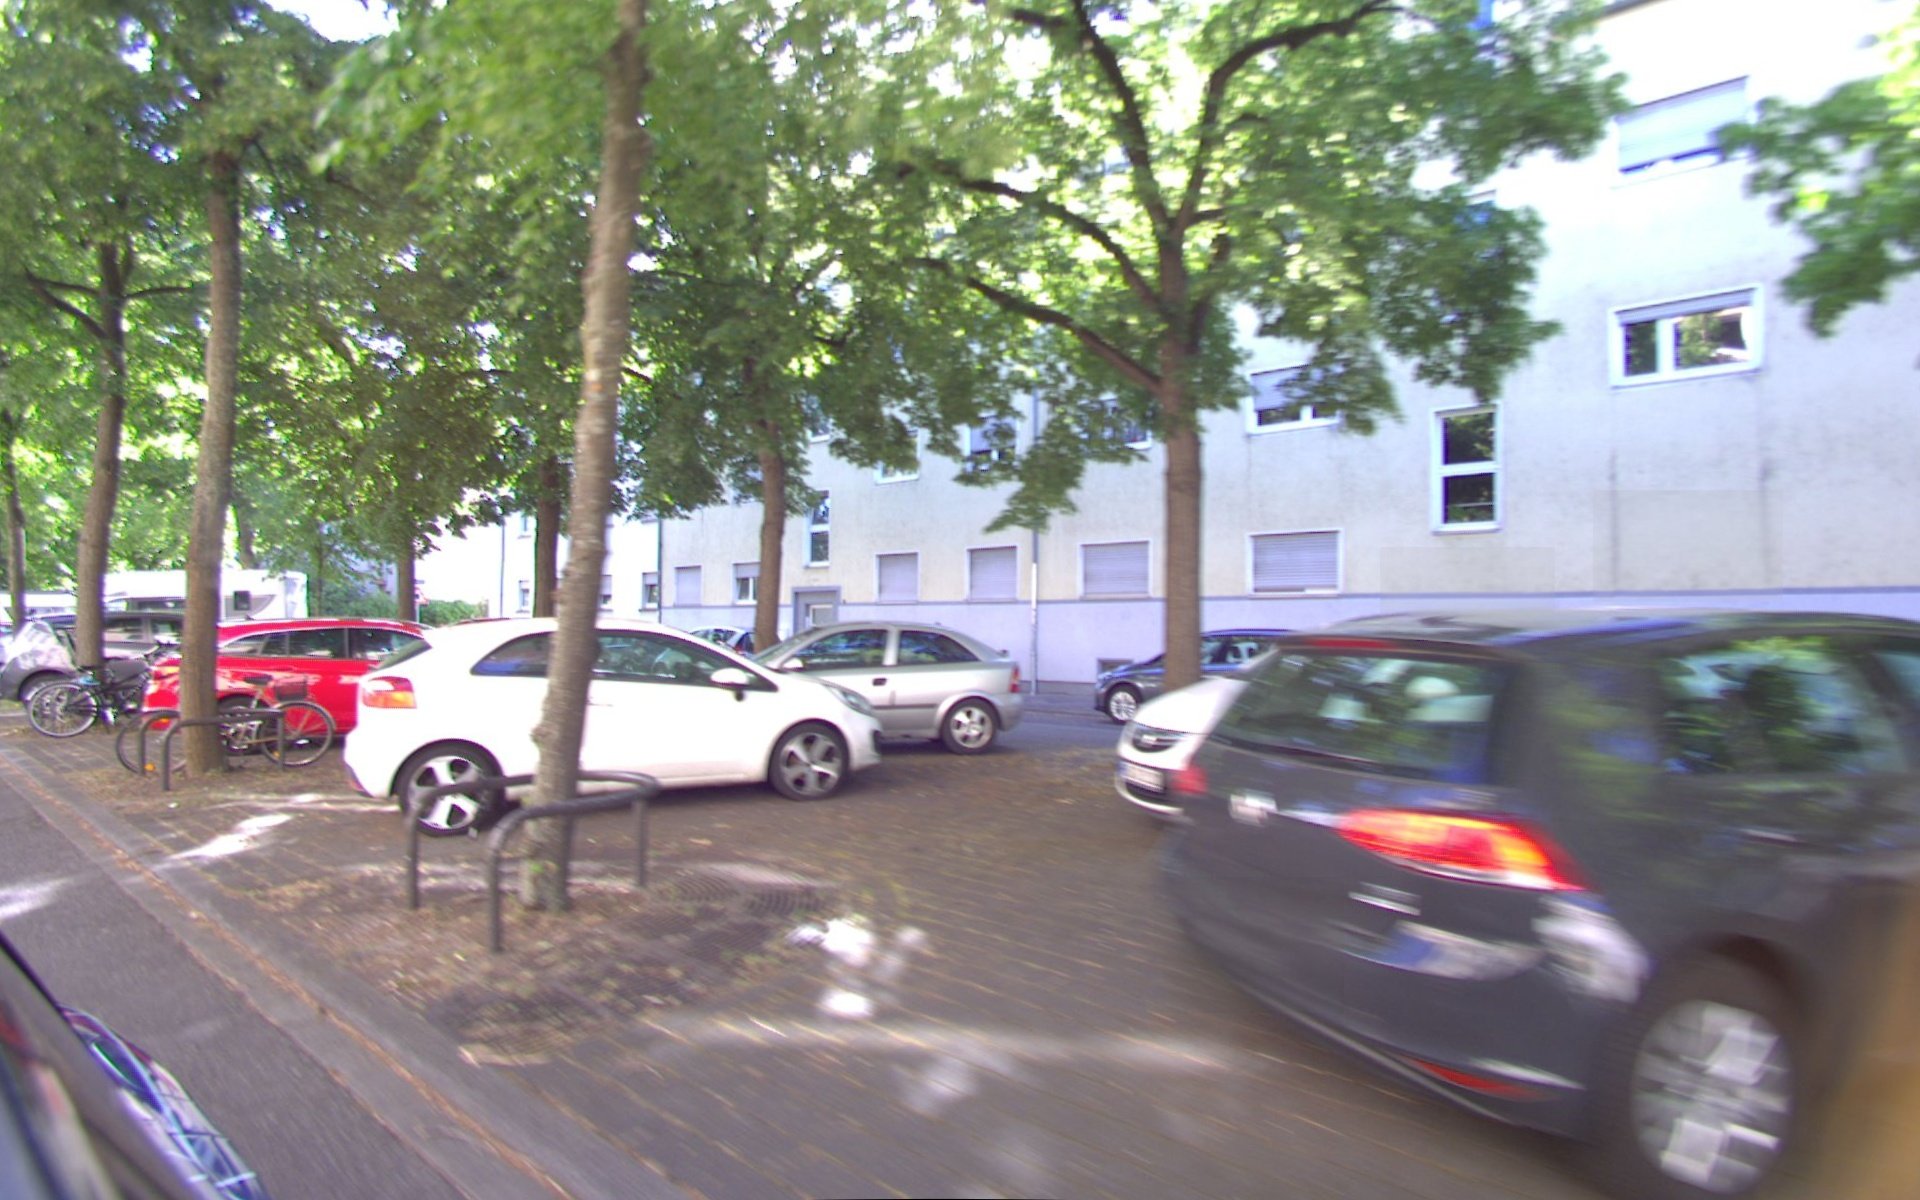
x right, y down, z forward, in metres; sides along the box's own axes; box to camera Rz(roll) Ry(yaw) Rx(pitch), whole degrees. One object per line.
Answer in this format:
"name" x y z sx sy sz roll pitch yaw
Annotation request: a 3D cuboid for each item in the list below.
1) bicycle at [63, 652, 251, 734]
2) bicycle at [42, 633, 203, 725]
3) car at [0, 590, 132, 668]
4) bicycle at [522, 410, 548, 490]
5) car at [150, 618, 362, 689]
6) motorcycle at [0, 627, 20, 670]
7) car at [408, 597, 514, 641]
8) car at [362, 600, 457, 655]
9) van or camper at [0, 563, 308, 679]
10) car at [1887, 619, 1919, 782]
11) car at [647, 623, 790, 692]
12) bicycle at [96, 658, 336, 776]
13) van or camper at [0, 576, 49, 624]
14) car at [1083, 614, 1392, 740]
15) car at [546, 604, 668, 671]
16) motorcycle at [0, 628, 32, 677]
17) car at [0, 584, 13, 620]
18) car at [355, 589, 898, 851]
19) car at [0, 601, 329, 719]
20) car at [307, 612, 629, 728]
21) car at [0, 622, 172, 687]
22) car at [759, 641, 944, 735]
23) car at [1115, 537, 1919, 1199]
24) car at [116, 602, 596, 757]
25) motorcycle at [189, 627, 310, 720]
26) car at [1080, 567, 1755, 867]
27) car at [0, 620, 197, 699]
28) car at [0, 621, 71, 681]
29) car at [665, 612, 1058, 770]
"bicycle" -10.424 1.191 13.211 1.871 0.926 0.380 -1 0 -29
"bicycle" -11.623 1.077 14.103 1.662 1.167 0.380 -1 0 -29
"car" -32.577 0.978 34.566 6.220 2.578 2.345 -1 0 -16
"bicycle" -7.807 -2.714 18.576 0.350 1.209 1.807 -2 1 -25
"car" -16.851 1.239 24.474 3.931 1.497 1.836 -1 0 -25
"motorcycle" -30.801 1.505 31.350 0.966 1.345 2.301 -1 -2 32
"car" -17.294 0.683 35.036 4.077 1.447 1.732 -1 -3 39
"car" -21.373 1.057 39.241 3.998 2.029 1.973 -1 -2 41
"van or camper" -21.759 0.496 27.663 6.198 2.846 2.415 -1 0 -20
"car" 11.221 1.002 9.816 3.182 1.571 1.460 -1 1 40
"car" -5.975 1.370 24.889 3.576 1.588 1.600 -1 -3 39
"bicycle" -6.983 1.072 9.602 1.786 1.001 0.427 1 -2 -33
"van or camper" -61.974 0.005 64.023 5.929 3.025 2.407 1 -2 -20
"car" 4.289 1.123 16.031 4.376 1.732 1.826 -1 -3 41
"car" -9.702 1.036 27.707 3.597 1.689 1.459 -1 -5 40
"motorcycle" -25.440 1.381 26.134 2.120 1.239 0.883 0 -1 -40
"car" -71.169 0.132 71.309 6.094 2.530 2.145 1 -2 -21
"car" -2.517 0.756 7.966 3.630 1.608 1.778 -1 0 -24
"car" -12.868 0.890 16.545 4.018 1.665 1.869 -1 0 -21
"car" -7.051 0.947 14.948 4.045 1.484 1.878 0 0 -20
"car" -22.015 1.304 24.684 4.086 1.436 1.720 0 0 -17
"car" -2.344 1.777 21.497 3.833 1.767 1.684 -1 -2 38
"car" 2.725 0.622 3.297 4.038 1.492 1.737 0 0 -20
"car" -6.768 0.821 11.939 4.550 1.497 1.766 -1 0 -17
"motorcycle" -10.346 1.042 14.793 0.636 1.264 1.513 -1 -1 4
"car" 2.962 0.648 6.777 3.849 1.567 1.852 1 -1 -18
"car" -17.885 1.156 20.155 3.953 1.485 1.630 1 -2 -13
"car" -27.577 1.406 28.590 3.837 1.630 1.658 0 -1 10
"car" -1.119 0.888 10.950 3.932 1.446 1.802 0 -1 -15
